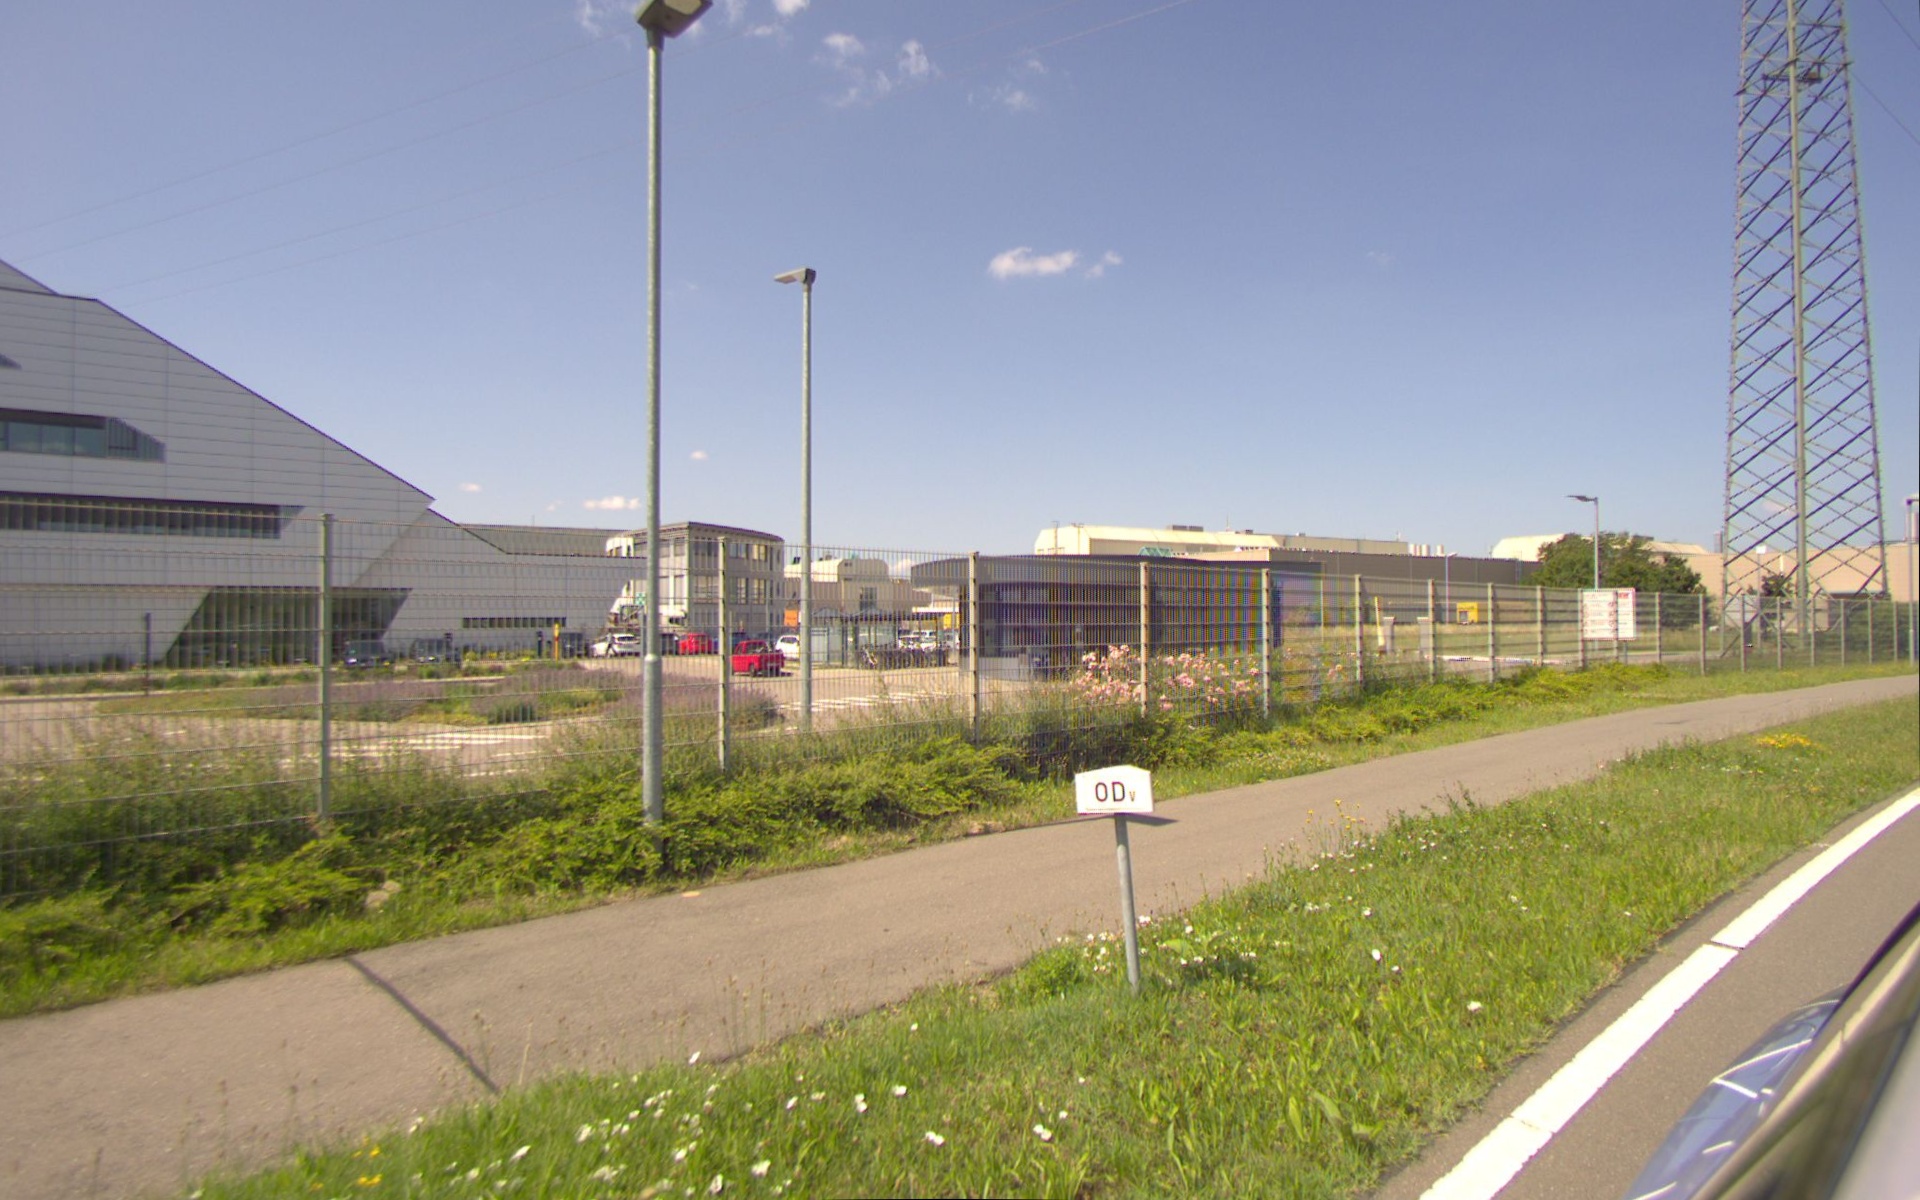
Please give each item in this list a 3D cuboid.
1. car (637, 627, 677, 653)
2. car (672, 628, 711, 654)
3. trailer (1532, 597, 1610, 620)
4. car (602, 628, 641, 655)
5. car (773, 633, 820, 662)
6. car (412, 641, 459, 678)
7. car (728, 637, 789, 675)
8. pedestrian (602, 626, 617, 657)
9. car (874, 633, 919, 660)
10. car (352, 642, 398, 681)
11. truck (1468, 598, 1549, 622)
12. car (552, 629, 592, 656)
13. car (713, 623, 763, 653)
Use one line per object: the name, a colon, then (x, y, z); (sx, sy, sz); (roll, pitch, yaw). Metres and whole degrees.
car: (-19.080, 2.497, 63.666); (1.444, 1.554, 3.056); (0, -1, -36)
car: (-17.404, 2.636, 65.492); (1.444, 1.554, 3.056); (0, -1, -36)
trailer: (77.812, 1.067, 128.662); (13.814, 2.746, 2.002); (0, 0, -30)
car: (-20.657, 2.500, 61.689); (1.444, 1.554, 3.056); (0, -1, -36)
car: (-9.353, 2.694, 57.834); (1.444, 1.554, 3.056); (0, -1, -36)
car: (-23.887, 2.666, 46.068); (1.444, 1.554, 3.056); (0, -1, -36)
car: (-8.947, 2.441, 44.756); (1.428, 1.554, 3.150); (0, -1, -37)
pedestrian: (-20.541, 2.420, 59.280); (0.674, 1.767, 0.612); (0, 0, -37)
car: (-4.005, 2.896, 63.425); (1.444, 1.554, 3.056); (0, -1, -36)
car: (-25.737, 2.683, 44.474); (1.444, 1.554, 3.056); (0, -1, -36)
truck: (66.143, 1.123, 121.784); (13.465, 2.746, 2.002); (0, 0, -31)
car: (-23.157, 2.515, 60.354); (1.444, 1.554, 3.056); (0, -1, -36)
car: (-15.789, 2.658, 71.836); (1.961, 2.040, 4.754); (0, -2, -32)
